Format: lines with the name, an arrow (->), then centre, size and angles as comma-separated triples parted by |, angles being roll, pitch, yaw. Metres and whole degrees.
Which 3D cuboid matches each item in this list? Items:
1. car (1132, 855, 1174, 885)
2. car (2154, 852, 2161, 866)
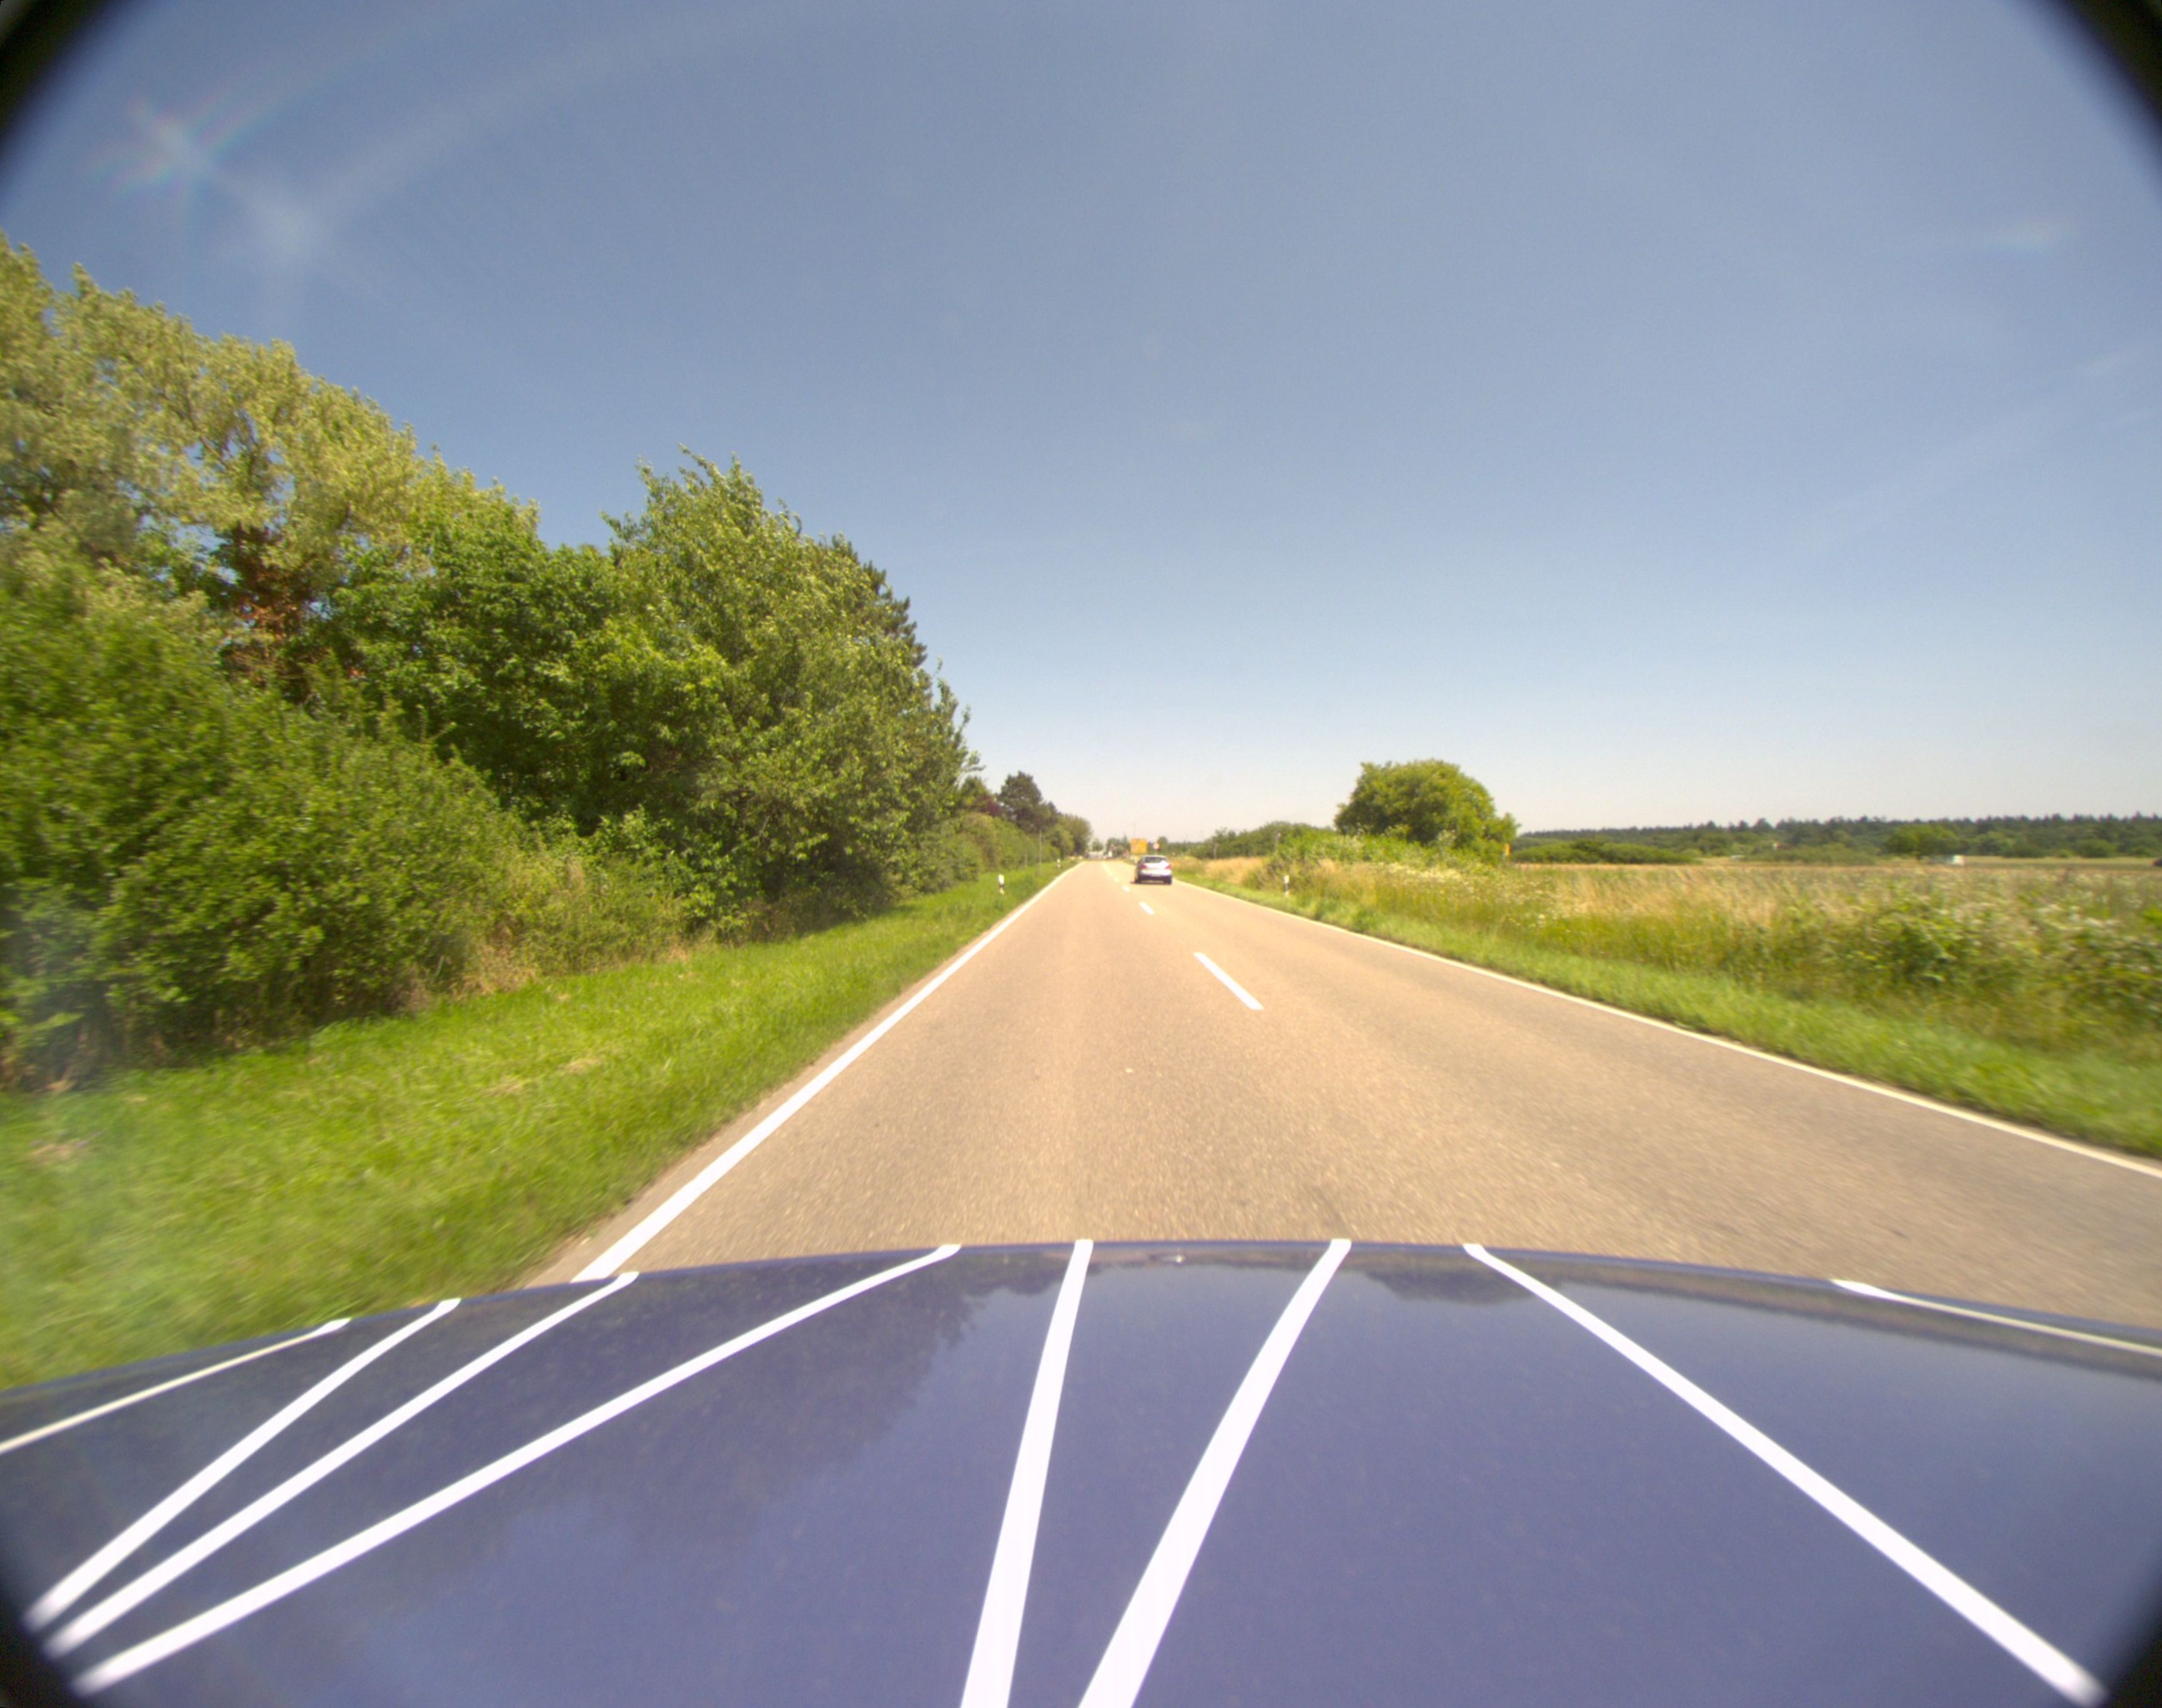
car -> 3.678, 0.801, 39.422 | 1.682, 1.413, 4.421 | 2, 0, 0
car -> 134.432, 0.636, 92.100 | 2.003, 1.681, 4.841 | -1, 1, -29
